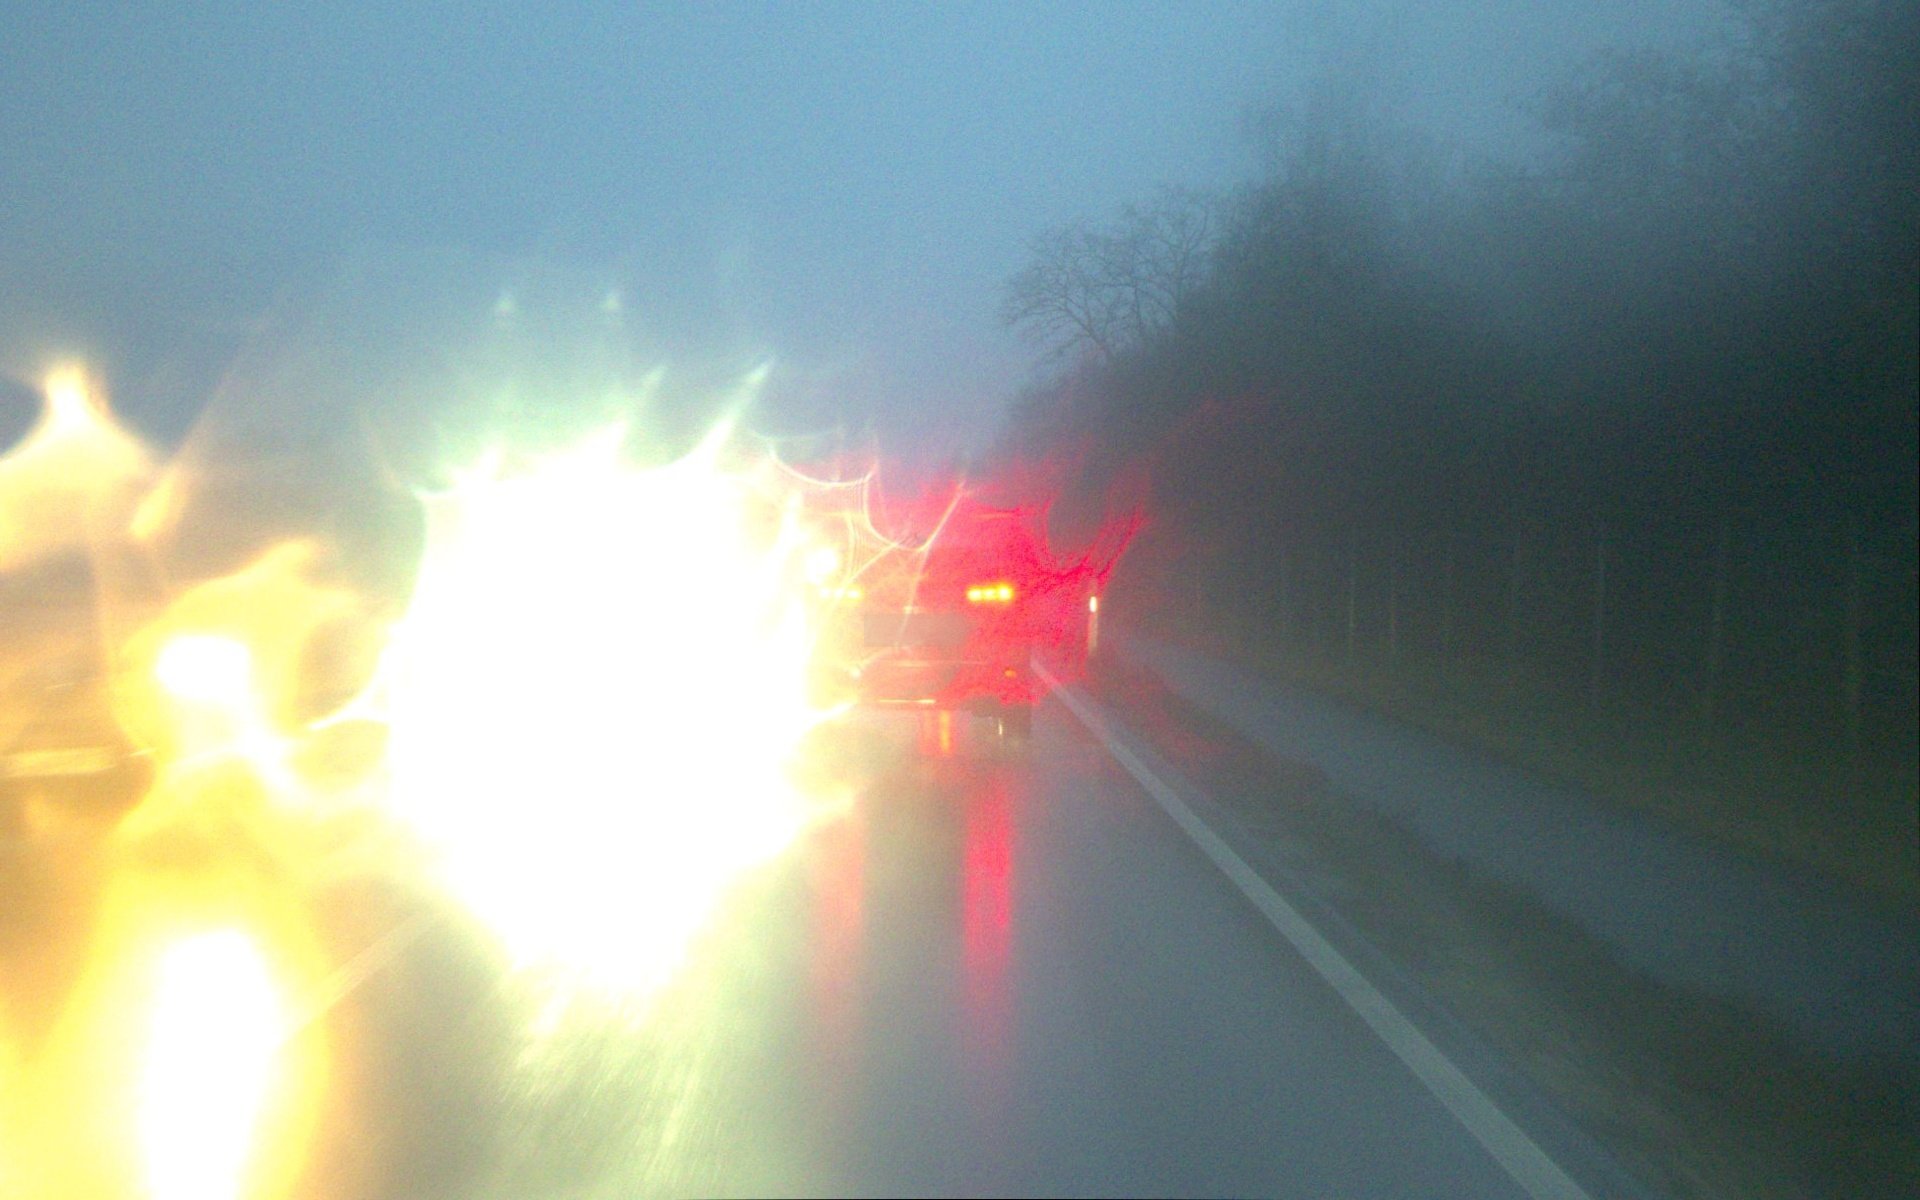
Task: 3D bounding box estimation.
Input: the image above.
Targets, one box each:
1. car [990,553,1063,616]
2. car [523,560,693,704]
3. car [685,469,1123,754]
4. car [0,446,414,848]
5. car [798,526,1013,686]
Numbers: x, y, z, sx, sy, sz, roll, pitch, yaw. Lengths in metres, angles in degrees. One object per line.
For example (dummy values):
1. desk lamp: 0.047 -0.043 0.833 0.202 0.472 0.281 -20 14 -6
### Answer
1. car: 1.882 -0.464 98.432 1.928 1.744 4.000 1 0 -1
2. car: -4.472 0.368 44.189 1.729 1.640 4.262 -3 1 -1
3. car: -0.456 0.019 28.454 3.164 2.028 6.852 -1 1 -1
4. car: -4.396 0.194 18.854 1.993 1.864 4.952 -2 1 -1
5. car: -0.757 0.011 47.759 2.756 2.028 6.591 -1 1 -1
